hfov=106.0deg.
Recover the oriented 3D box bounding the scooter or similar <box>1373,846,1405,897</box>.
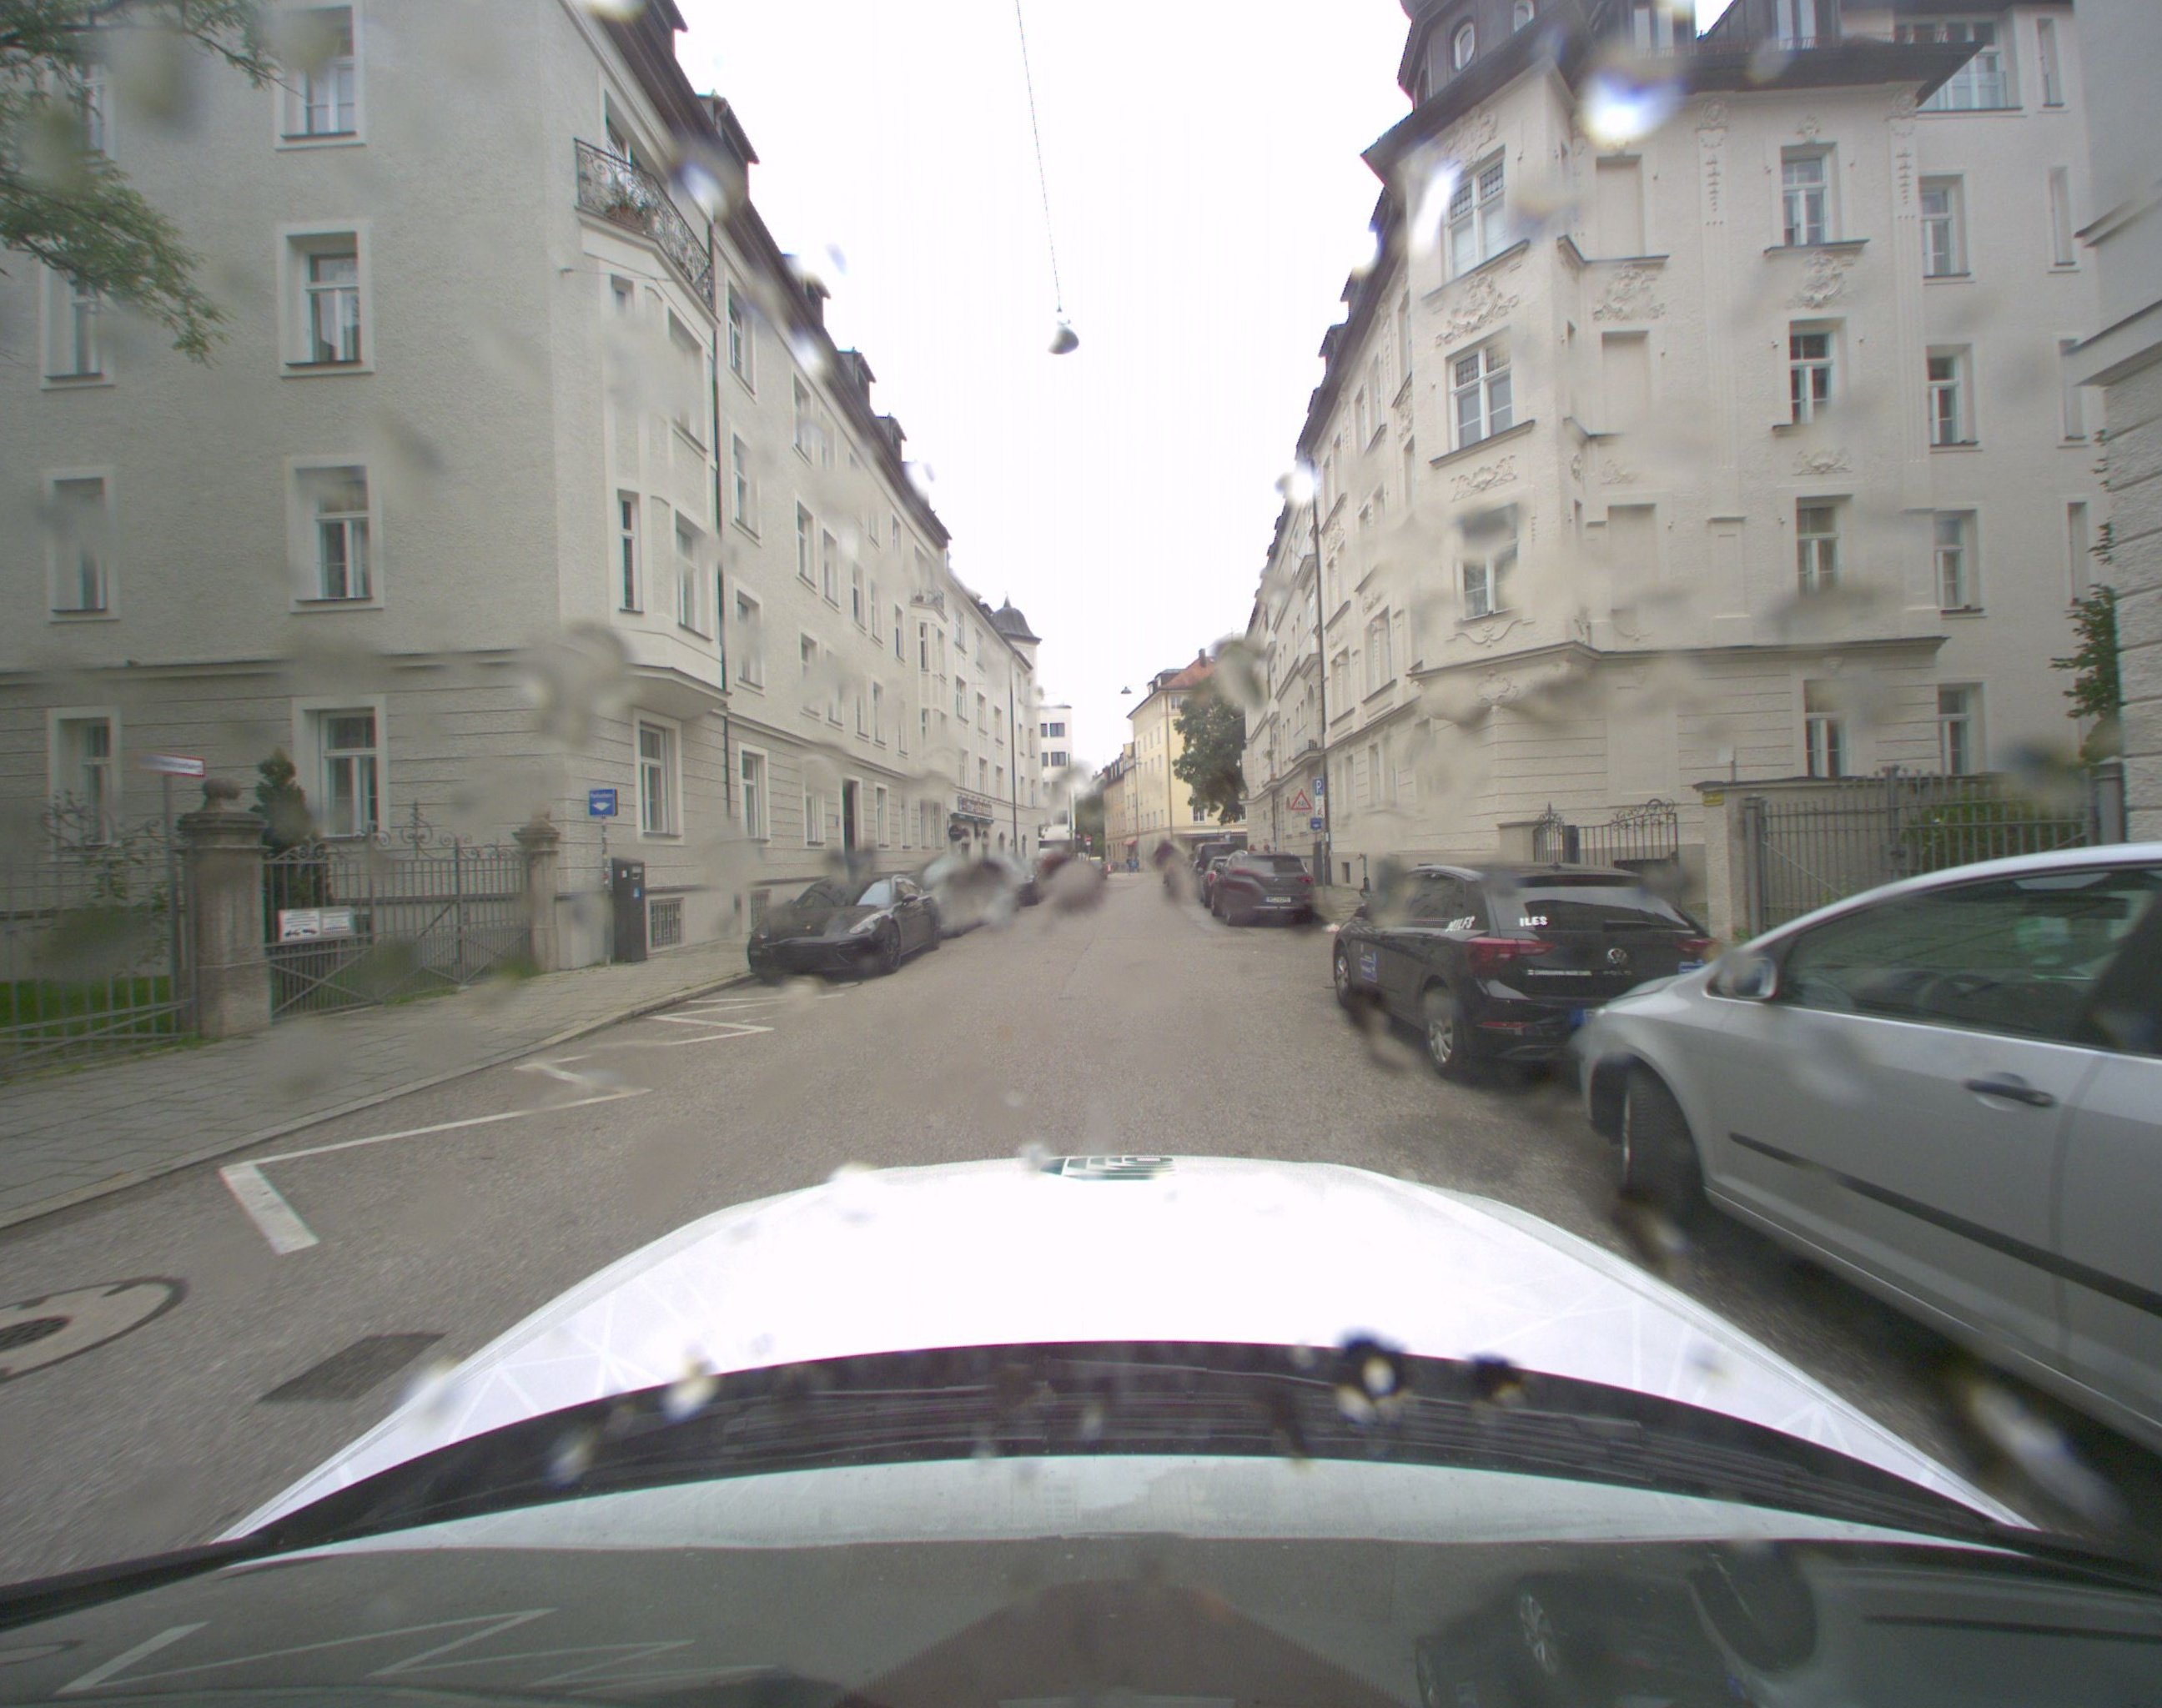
[{"bbox_3d":[8.116,0.447,21.512,0.503,1.287,1.356,-4,-1,12],"label":"scooter or similar"}]

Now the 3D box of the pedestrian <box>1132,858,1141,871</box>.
[{"bbox_3d":[5.354,1.014,78.805,0.695,1.270,0.652,-3,0,8],"label":"pedestrian"}]

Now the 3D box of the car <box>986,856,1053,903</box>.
[{"bbox_3d":[-2.107,0.849,28.833,1.734,1.487,4.185,-2,0,4],"label":"car"}]

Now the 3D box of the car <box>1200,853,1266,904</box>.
[{"bbox_3d":[4.389,0.672,23.921,1.655,1.395,3.588,0,0,6],"label":"car"}]

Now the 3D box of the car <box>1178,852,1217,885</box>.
[{"bbox_3d":[5.658,0.668,39.665,1.697,1.471,4.210,-2,0,8],"label":"car"}]

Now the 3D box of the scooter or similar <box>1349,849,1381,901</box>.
[{"bbox_3d":[7.522,0.529,21.611,0.536,1.287,1.508,-4,-1,12],"label":"scooter or similar"}]

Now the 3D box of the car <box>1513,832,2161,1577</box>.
[{"bbox_3d":[3.030,0.691,2.161,1.702,1.501,4.001,-1,0,1],"label":"car"}]

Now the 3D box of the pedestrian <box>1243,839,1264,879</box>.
[{"bbox_3d":[7.620,0.213,35.999,0.700,1.728,0.703,-3,0,1],"label":"pedestrian"}]

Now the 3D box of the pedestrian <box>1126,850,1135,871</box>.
[{"bbox_3d":[3.999,0.525,65.552,0.607,1.661,0.552,-2,0,8],"label":"pedestrian"}]

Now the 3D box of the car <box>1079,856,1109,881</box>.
[{"bbox_3d":[0.949,0.987,57.198,1.668,1.597,3.951,-4,-1,6],"label":"car"}]

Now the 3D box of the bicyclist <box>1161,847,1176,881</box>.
[{"bbox_3d":[4.130,0.463,38.427,0.602,1.606,0.759,-2,0,8],"label":"bicyclist"}]

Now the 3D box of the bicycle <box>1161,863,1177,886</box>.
[{"bbox_3d":[4.152,0.948,38.410,0.635,1.004,1.578,-2,0,8],"label":"bicycle"}]

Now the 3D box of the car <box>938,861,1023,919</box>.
[{"bbox_3d":[-2.821,0.979,23.831,1.804,1.385,4.443,-4,0,0],"label":"car"}]

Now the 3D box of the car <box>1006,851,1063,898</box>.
[{"bbox_3d":[-1.861,0.788,33.636,1.739,1.673,4.279,-5,0,3],"label":"car"}]

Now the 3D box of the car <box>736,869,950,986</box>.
[{"bbox_3d":[-3.486,1.004,12.991,1.842,1.367,4.704,-2,0,2],"label":"car"}]

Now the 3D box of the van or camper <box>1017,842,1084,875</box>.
[{"bbox_3d":[-2.789,0.436,73.702,5.893,2.677,1.870,-2,-2,-4],"label":"van or camper"}]

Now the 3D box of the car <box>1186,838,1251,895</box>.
[{"bbox_3d":[4.887,0.415,29.558,1.902,1.885,4.719,0,0,4],"label":"car"}]

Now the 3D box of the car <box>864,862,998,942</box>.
[{"bbox_3d":[-3.227,0.973,18.461,1.786,1.419,4.515,-5,-1,4],"label":"car"}]

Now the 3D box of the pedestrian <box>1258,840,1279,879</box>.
[{"bbox_3d":[8.385,0.256,36.352,0.677,1.674,0.654,-4,0,1],"label":"pedestrian"}]

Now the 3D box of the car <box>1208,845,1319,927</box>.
[{"bbox_3d":[3.905,0.621,18.052,1.700,1.588,4.003,-1,0,2],"label":"car"}]

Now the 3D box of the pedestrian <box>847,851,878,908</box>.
[{"bbox_3d":[-6.638,0.769,24.753,0.695,1.707,0.665,-2,0,1],"label":"pedestrian"}]

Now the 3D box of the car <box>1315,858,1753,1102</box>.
[{"bbox_3d":[3.224,0.751,6.779,1.605,1.395,4.004,-1,0,3],"label":"car"}]
